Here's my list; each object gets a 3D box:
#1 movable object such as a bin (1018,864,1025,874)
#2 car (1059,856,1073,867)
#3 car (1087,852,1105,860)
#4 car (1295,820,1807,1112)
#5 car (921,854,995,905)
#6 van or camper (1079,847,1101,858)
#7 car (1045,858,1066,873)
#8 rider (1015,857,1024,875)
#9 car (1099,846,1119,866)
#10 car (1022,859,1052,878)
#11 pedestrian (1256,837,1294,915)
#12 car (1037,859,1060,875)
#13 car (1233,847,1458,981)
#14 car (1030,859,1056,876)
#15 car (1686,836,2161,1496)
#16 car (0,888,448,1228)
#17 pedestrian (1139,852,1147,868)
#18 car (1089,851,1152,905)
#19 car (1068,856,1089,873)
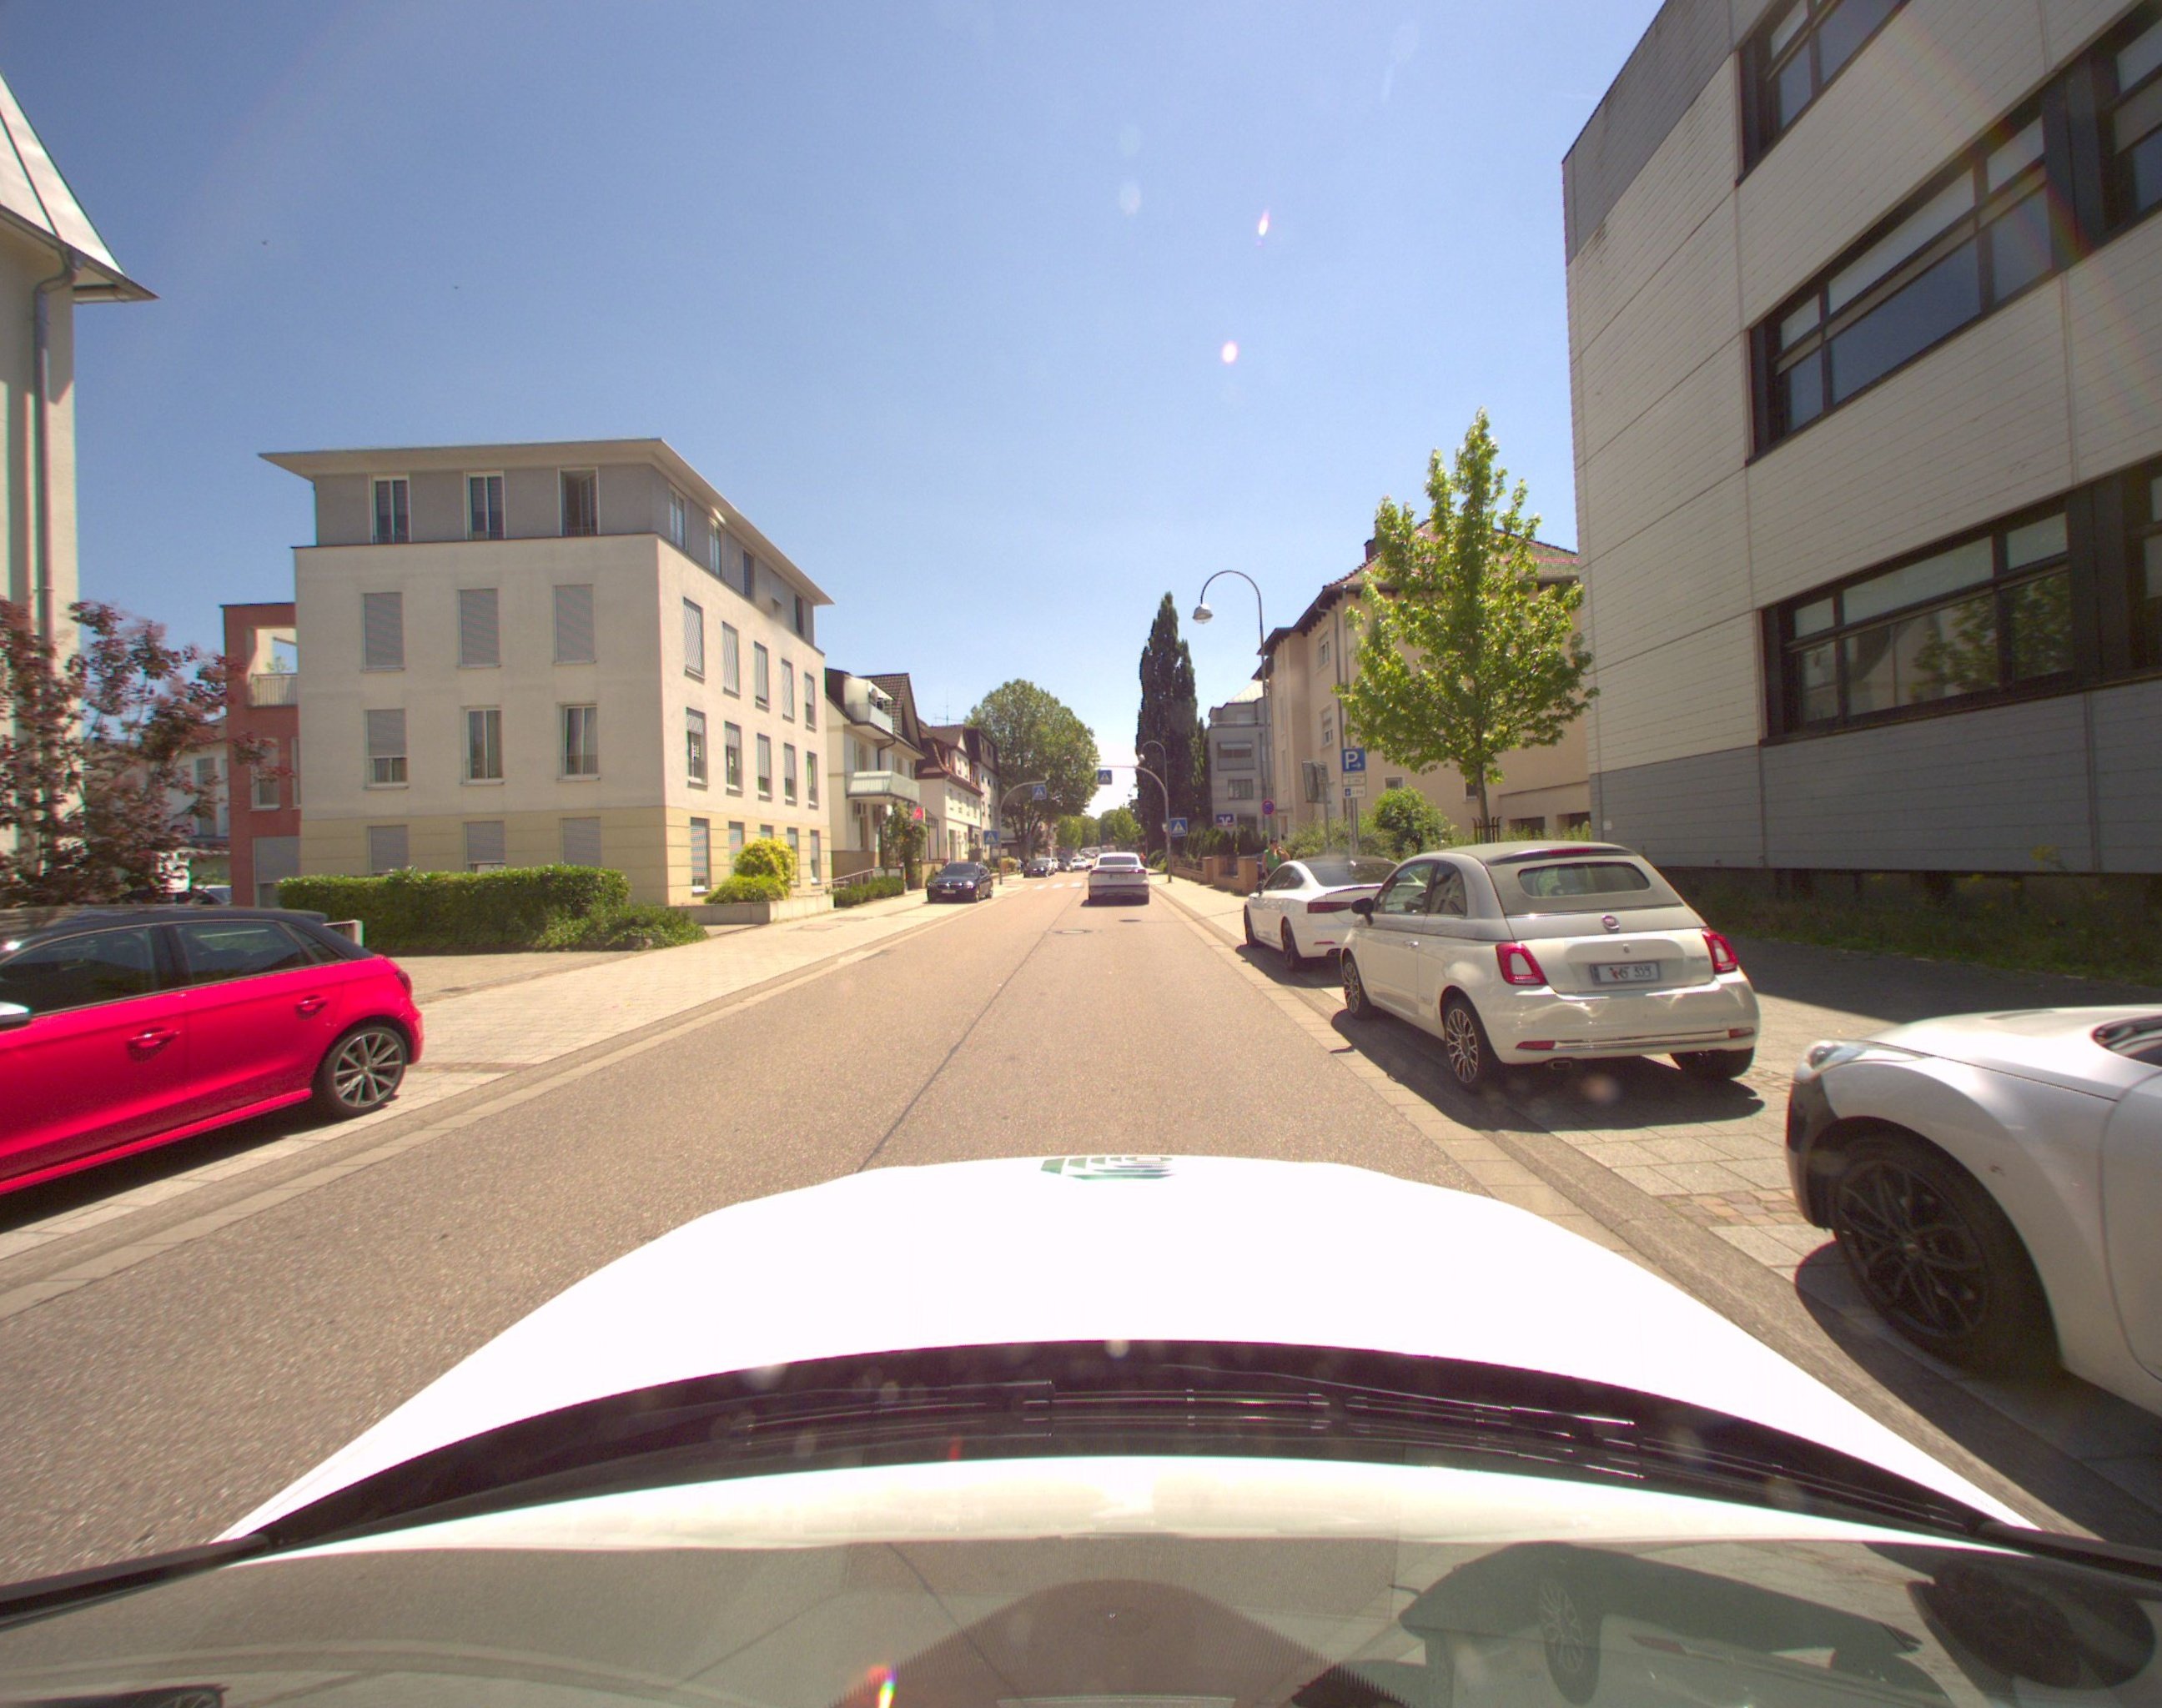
[{"bbox_3d":[-5.452,1.380,74.558,0.585,0.952,0.567,-3,-1,1],"label":"movable object such as a bin"},{"bbox_3d":[-2.251,1.123,123.583,1.986,1.520,4.001,-3,0,1],"label":"car"},{"bbox_3d":[3.467,0.397,189.512,3.964,1.651,2.005,-3,0,8],"label":"car"},{"bbox_3d":[3.142,0.626,6.637,1.653,1.488,4.346,-4,0,1],"label":"car"},{"bbox_3d":[-4.626,0.916,31.382,1.918,1.720,4.474,-3,0,2],"label":"car"},{"bbox_3d":[2.429,-0.401,219.382,5.202,2.513,2.256,-3,0,-16],"label":"van or camper"},{"bbox_3d":[-2.732,1.221,88.571,1.986,1.520,4.001,-3,0,1],"label":"car"},{"bbox_3d":[-5.599,1.064,73.949,0.659,1.553,0.661,-3,-1,1],"label":"rider"},{"bbox_3d":[3.313,0.253,97.016,2.063,2.197,5.137,-3,0,0],"label":"car"},{"bbox_3d":[-3.482,1.126,64.905,1.986,1.349,4.001,-3,0,1],"label":"car"},{"bbox_3d":[4.480,0.505,18.881,0.636,1.758,0.616,-3,-1,-3],"label":"pedestrian"},{"bbox_3d":[-3.229,1.268,82.339,1.986,1.520,4.001,-3,0,1],"label":"car"},{"bbox_3d":[3.381,0.687,11.361,1.720,1.383,4.403,-4,0,1],"label":"car"},{"bbox_3d":[-3.300,1.181,71.423,1.986,1.382,4.001,-3,0,1],"label":"car"},{"bbox_3d":[3.176,0.637,1.082,1.855,1.373,4.003,-3,-1,3],"label":"car"},{"bbox_3d":[-5.615,0.959,4.103,1.642,1.419,3.908,0,0,3],"label":"car"},{"bbox_3d":[6.833,0.696,89.838,0.692,1.736,0.667,-3,-1,-3],"label":"pedestrian"},{"bbox_3d":[1.291,0.732,26.961,1.928,1.614,4.474,0,0,2],"label":"car"},{"bbox_3d":[-0.203,1.052,80.554,1.972,1.520,4.001,-3,0,1],"label":"car"}]
